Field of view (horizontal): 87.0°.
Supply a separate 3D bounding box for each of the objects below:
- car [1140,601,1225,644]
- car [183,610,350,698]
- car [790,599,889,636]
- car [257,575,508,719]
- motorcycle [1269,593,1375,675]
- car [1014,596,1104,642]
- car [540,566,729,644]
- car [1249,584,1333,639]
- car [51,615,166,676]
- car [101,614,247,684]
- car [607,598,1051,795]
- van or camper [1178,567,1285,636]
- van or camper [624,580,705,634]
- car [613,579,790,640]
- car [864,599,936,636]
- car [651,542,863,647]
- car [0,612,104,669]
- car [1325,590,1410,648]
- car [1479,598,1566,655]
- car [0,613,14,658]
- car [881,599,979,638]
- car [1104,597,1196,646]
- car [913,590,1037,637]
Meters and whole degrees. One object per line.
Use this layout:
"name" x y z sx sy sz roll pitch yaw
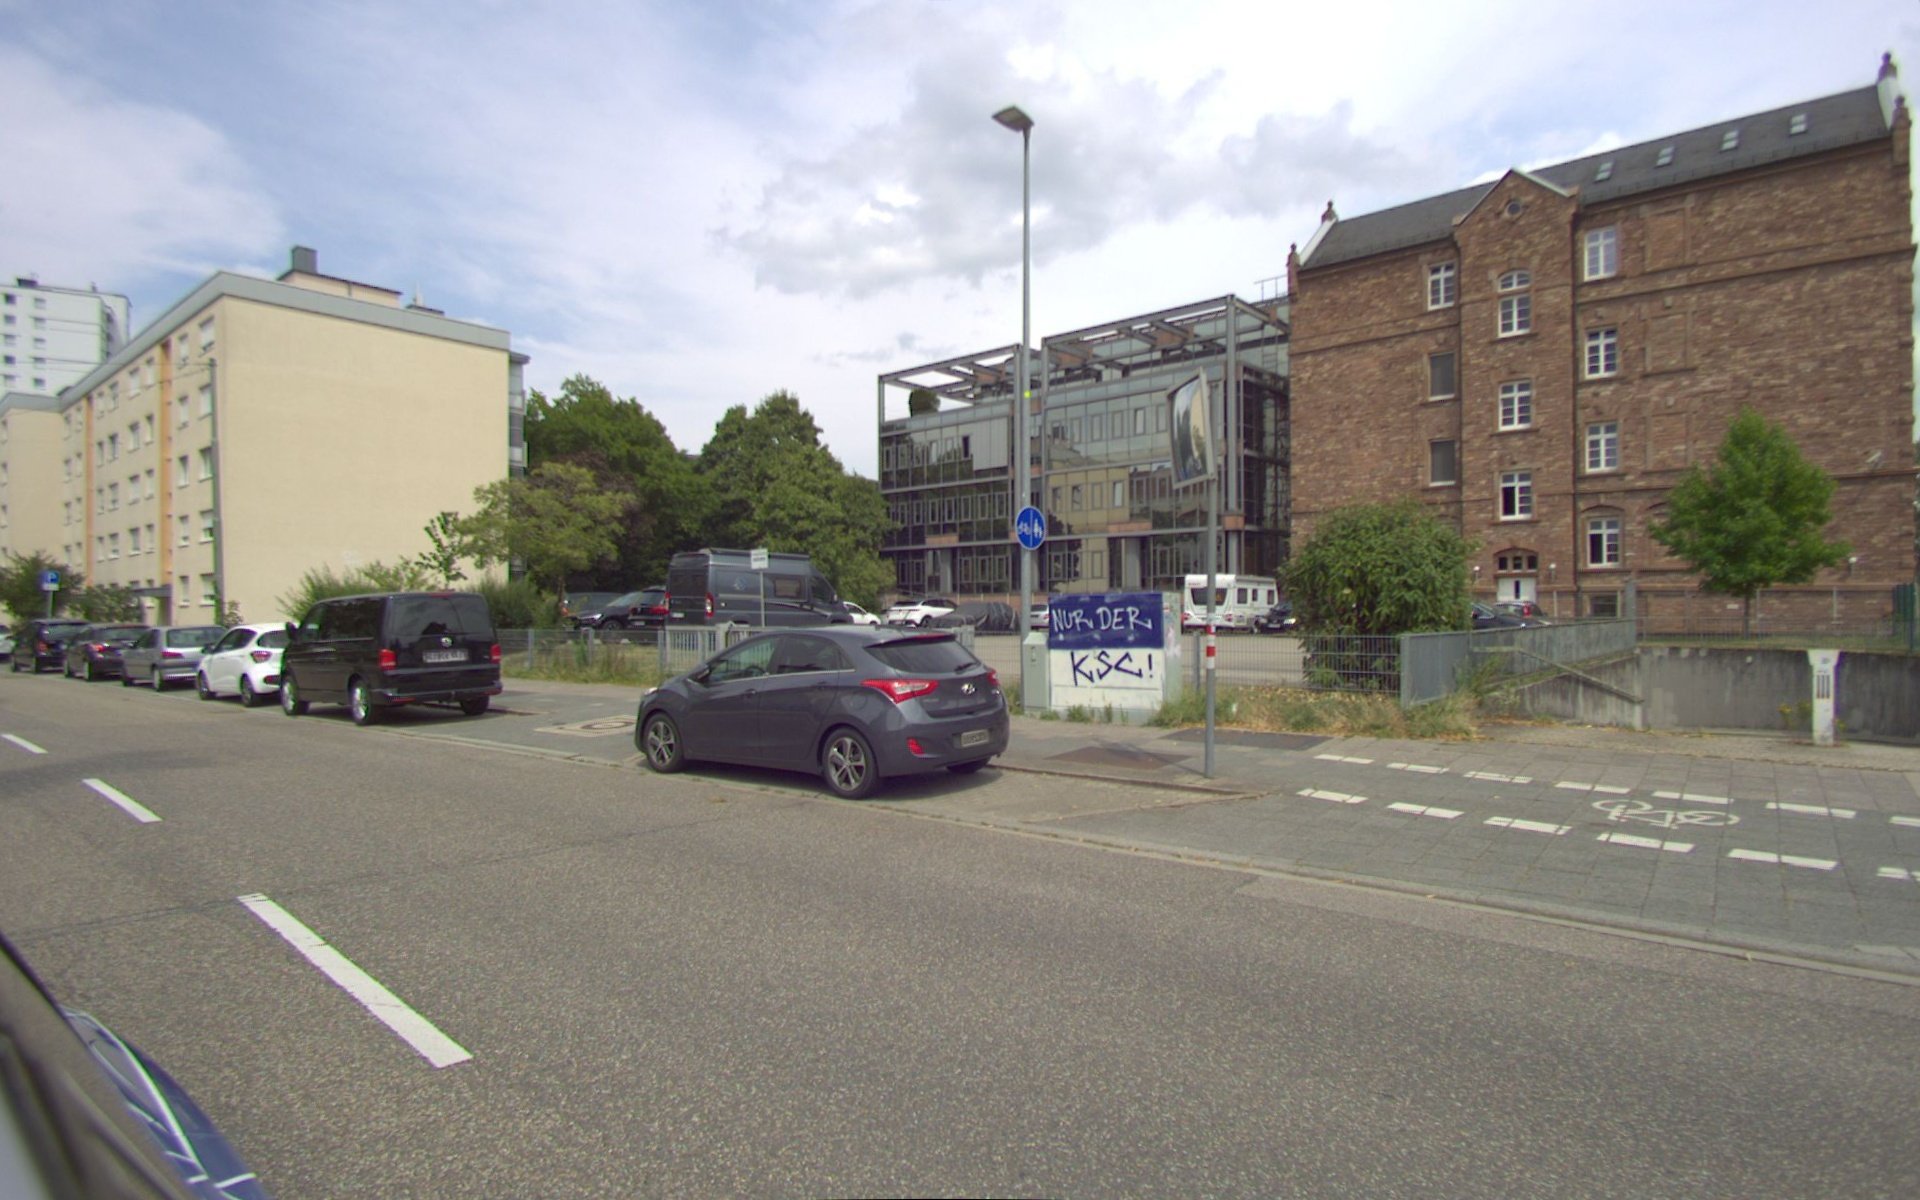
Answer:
"car" 9.887 1.012 44.812 1.727 1.798 4.313 -1 -2 44
"car" -13.684 1.010 19.911 3.759 1.541 1.638 -2 0 38
"car" -5.126 0.726 43.425 1.968 1.494 3.947 0 0 39
"car" -9.498 0.697 16.479 4.838 2.019 1.929 -1 0 39
"motorcycle" 5.456 0.519 15.175 0.725 1.151 2.067 -1 -3 44
"car" 4.871 0.949 49.586 2.205 2.153 4.313 -1 -2 44
"car" -9.798 0.217 30.781 2.228 2.166 5.030 -2 -2 42
"car" 13.569 0.513 41.310 1.726 2.153 4.316 -1 -2 41
"car" -22.764 1.154 27.009 4.045 1.481 1.670 -1 0 40
"car" -18.209 1.083 23.389 4.257 1.468 1.671 -1 -1 38
"car" -1.419 0.786 9.907 4.291 1.484 1.805 -1 1 38
"van or camper" 11.491 0.139 42.608 2.578 2.723 4.999 -1 -2 38
"van or camper" -17.262 0.447 59.014 4.898 2.894 1.973 -1 -7 41
"car" -7.388 0.282 29.252 2.000 1.630 4.647 -2 -2 41
"car" -3.337 1.006 56.718 1.972 2.029 3.671 -1 -3 45
"car" -5.407 -0.199 27.565 2.353 2.571 5.256 -1 1 41
"car" -27.281 1.163 30.291 3.992 1.587 1.608 -1 -1 36
"car" 16.158 0.775 40.050 1.804 2.153 4.316 -1 -2 41
"car" 20.529 0.973 36.827 1.875 1.952 4.458 -1 -2 41
"car" -35.952 1.324 36.687 4.545 1.575 1.769 -2 1 39
"car" -1.153 0.720 40.480 1.615 1.494 4.114 0 0 39
"car" 8.787 1.009 46.688 2.205 2.153 4.313 -1 -2 44
"car" 0.636 0.553 38.679 2.329 1.677 4.642 -1 -2 41
